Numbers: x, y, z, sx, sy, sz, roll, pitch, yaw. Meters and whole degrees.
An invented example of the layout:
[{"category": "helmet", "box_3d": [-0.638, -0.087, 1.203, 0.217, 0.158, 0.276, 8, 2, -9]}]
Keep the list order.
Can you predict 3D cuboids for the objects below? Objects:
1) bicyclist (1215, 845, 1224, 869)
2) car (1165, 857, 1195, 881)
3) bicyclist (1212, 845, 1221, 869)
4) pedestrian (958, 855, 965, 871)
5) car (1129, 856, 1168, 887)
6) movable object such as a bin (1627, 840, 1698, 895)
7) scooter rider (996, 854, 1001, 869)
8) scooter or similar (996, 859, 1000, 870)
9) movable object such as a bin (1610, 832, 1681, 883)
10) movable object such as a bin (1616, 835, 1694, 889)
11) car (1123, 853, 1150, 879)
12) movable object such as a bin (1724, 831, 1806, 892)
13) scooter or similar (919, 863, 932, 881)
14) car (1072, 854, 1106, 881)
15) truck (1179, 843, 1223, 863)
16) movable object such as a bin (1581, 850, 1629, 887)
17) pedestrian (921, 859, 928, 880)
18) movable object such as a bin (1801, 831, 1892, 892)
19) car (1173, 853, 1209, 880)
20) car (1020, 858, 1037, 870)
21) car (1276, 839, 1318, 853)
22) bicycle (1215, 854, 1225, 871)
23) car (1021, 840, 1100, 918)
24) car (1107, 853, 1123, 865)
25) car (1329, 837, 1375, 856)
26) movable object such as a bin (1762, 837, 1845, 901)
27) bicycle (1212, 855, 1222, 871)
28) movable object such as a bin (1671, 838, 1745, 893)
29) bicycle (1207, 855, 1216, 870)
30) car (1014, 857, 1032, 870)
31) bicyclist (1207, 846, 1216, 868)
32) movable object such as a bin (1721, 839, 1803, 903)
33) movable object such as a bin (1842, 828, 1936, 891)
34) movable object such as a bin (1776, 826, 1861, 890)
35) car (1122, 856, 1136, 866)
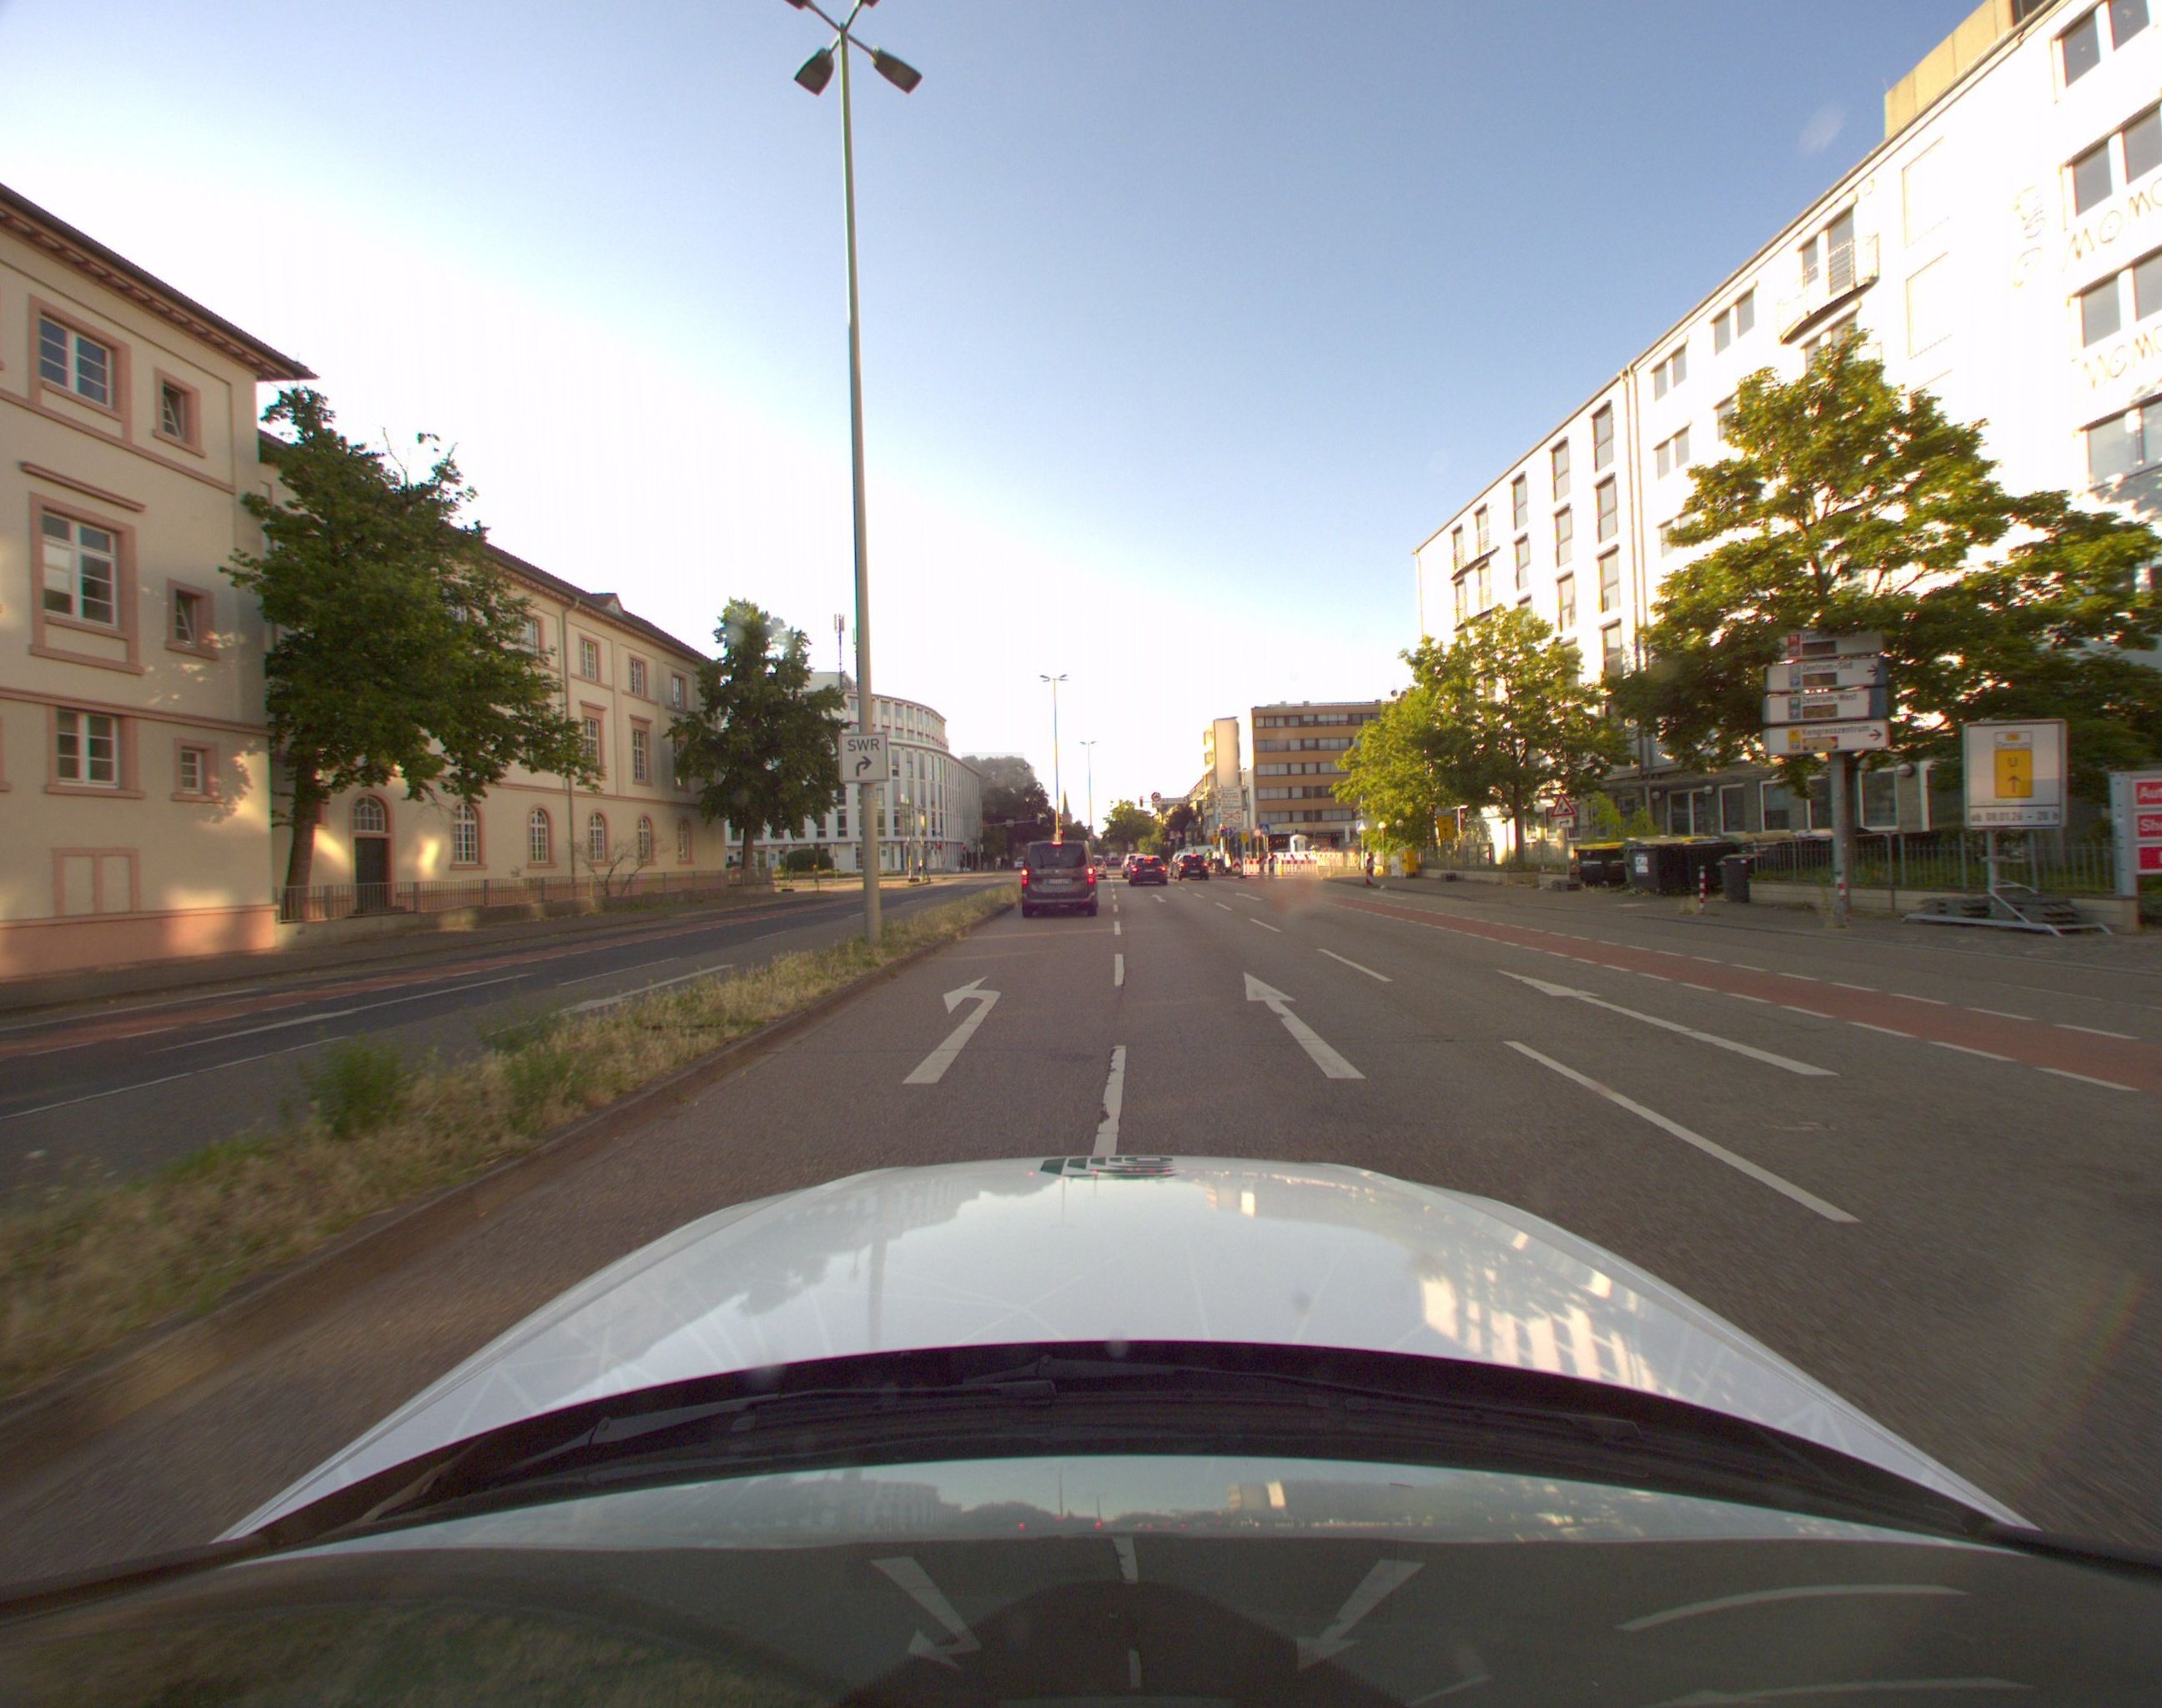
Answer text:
[{"category": "bicyclist", "box_3d": [8.837, 0.184, 51.819, 0.439, 1.525, 0.482, -2, 0, 1]}, {"category": "car", "box_3d": [6.305, 0.925, 52.115, 1.499, 1.449, 3.306, -2, 0, 1]}, {"category": "bicyclist", "box_3d": [9.001, 0.201, 54.041, 0.439, 1.525, 0.725, -2, 0, 1]}, {"category": "pedestrian", "box_3d": [-12.955, 0.988, 88.256, 0.626, 1.722, 0.668, -2, 0, -13]}, {"category": "car", "box_3d": [3.273, 0.815, 40.108, 1.675, 1.421, 4.215, -1, 0, 1]}, {"category": "movable object such as a bin", "box_3d": [14.967, 0.340, 20.991, 0.951, 1.328, 1.161, -2, 0, -2]}, {"category": "scooter rider", "box_3d": [-9.703, 0.849, 95.403, 0.480, 1.697, 0.636, -2, 0, 1]}, {"category": "scooter or similar", "box_3d": [-9.722, 1.248, 95.408, 0.284, 1.188, 1.169, -2, 0, 1]}, {"category": "movable object such as a bin", "box_3d": [17.208, 0.115, 24.858, 1.345, 1.461, 1.104, -2, 0, -4]}, {"category": "movable object such as a bin", "box_3d": [15.876, 0.218, 22.550, 1.345, 1.424, 1.104, -2, 0, -4]}, {"category": "car", "box_3d": [3.478, 0.727, 51.651, 1.523, 1.613, 3.746, -1, 0, 1]}, {"category": "movable object such as a bin", "box_3d": [17.159, 0.173, 20.451, 1.029, 1.449, 1.161, -2, 0, -2]}, {"category": "scooter or similar", "box_3d": [-11.331, 1.327, 59.478, 0.893, 1.234, 0.370, -2, 0, -10]}, {"category": "car", "box_3d": [0.549, 0.800, 51.083, 1.986, 1.530, 4.001, -2, 0, 1]}, {"category": "truck", "box_3d": [14.187, -0.106, 96.071, 4.571, 2.086, 2.149, -2, 0, 36]}, {"category": "movable object such as a bin", "box_3d": [15.605, 0.420, 24.264, 0.849, 1.045, 0.819, -2, 0, -4]}, {"category": "pedestrian", "box_3d": [-11.433, 1.137, 59.564, 0.474, 1.505, 0.334, -2, 0, -11]}, {"category": "movable object such as a bin", "box_3d": [16.935, 0.161, 18.053, 0.951, 1.283, 1.097, -2, 0, -2]}, {"category": "car", "box_3d": [6.249, 0.710, 46.463, 1.628, 1.449, 3.746, -1, 0, 1]}, {"category": "car", "box_3d": [-6.805, 1.276, 105.324, 1.850, 1.420, 3.999, -2, 0, 0]}, {"category": "car", "box_3d": [23.306, -0.850, 87.928, 3.981, 1.420, 1.784, -2, 0, -6]}, {"category": "bicycle", "box_3d": [8.864, 0.536, 51.821, 0.335, 1.008, 1.856, -2, 0, 1]}, {"category": "car", "box_3d": [-0.446, 0.598, 21.871, 1.900, 1.863, 4.527, -1, 0, 1]}, {"category": "car", "box_3d": [4.952, 0.713, 118.410, 1.988, 1.662, 3.997, -2, 0, -2]}, {"category": "car", "box_3d": [28.599, -0.817, 85.944, 4.200, 1.817, 2.001, -2, 0, 1]}, {"category": "movable object such as a bin", "box_3d": [15.887, 0.325, 17.936, 0.951, 1.328, 0.953, -2, 0, -2]}, {"category": "bicycle", "box_3d": [9.013, 0.586, 53.958, 0.335, 1.008, 1.856, -2, 0, 1]}, {"category": "movable object such as a bin", "box_3d": [16.090, 0.282, 20.915, 0.951, 1.328, 1.161, -2, 0, -2]}, {"category": "bicycle", "box_3d": [9.078, 0.576, 56.764, 0.335, 1.008, 1.856, -2, 0, 1]}, {"category": "car", "box_3d": [-7.064, 1.106, 99.365, 1.850, 1.420, 3.999, -2, 0, 0]}, {"category": "bicyclist", "box_3d": [9.083, 0.223, 56.765, 0.511, 1.525, 0.725, -2, 0, 1]}, {"category": "movable object such as a bin", "box_3d": [14.912, 0.369, 17.869, 0.951, 1.328, 0.953, -2, 0, -2]}, {"category": "movable object such as a bin", "box_3d": [17.938, 0.118, 18.102, 0.951, 1.328, 1.097, -2, 0, -2]}, {"category": "movable object such as a bin", "box_3d": [18.325, 0.100, 20.265, 1.029, 1.498, 1.161, -2, 0, -2]}, {"category": "car", "box_3d": [7.506, 1.065, 127.693, 1.898, 1.372, 3.999, -2, 0, 0]}]
